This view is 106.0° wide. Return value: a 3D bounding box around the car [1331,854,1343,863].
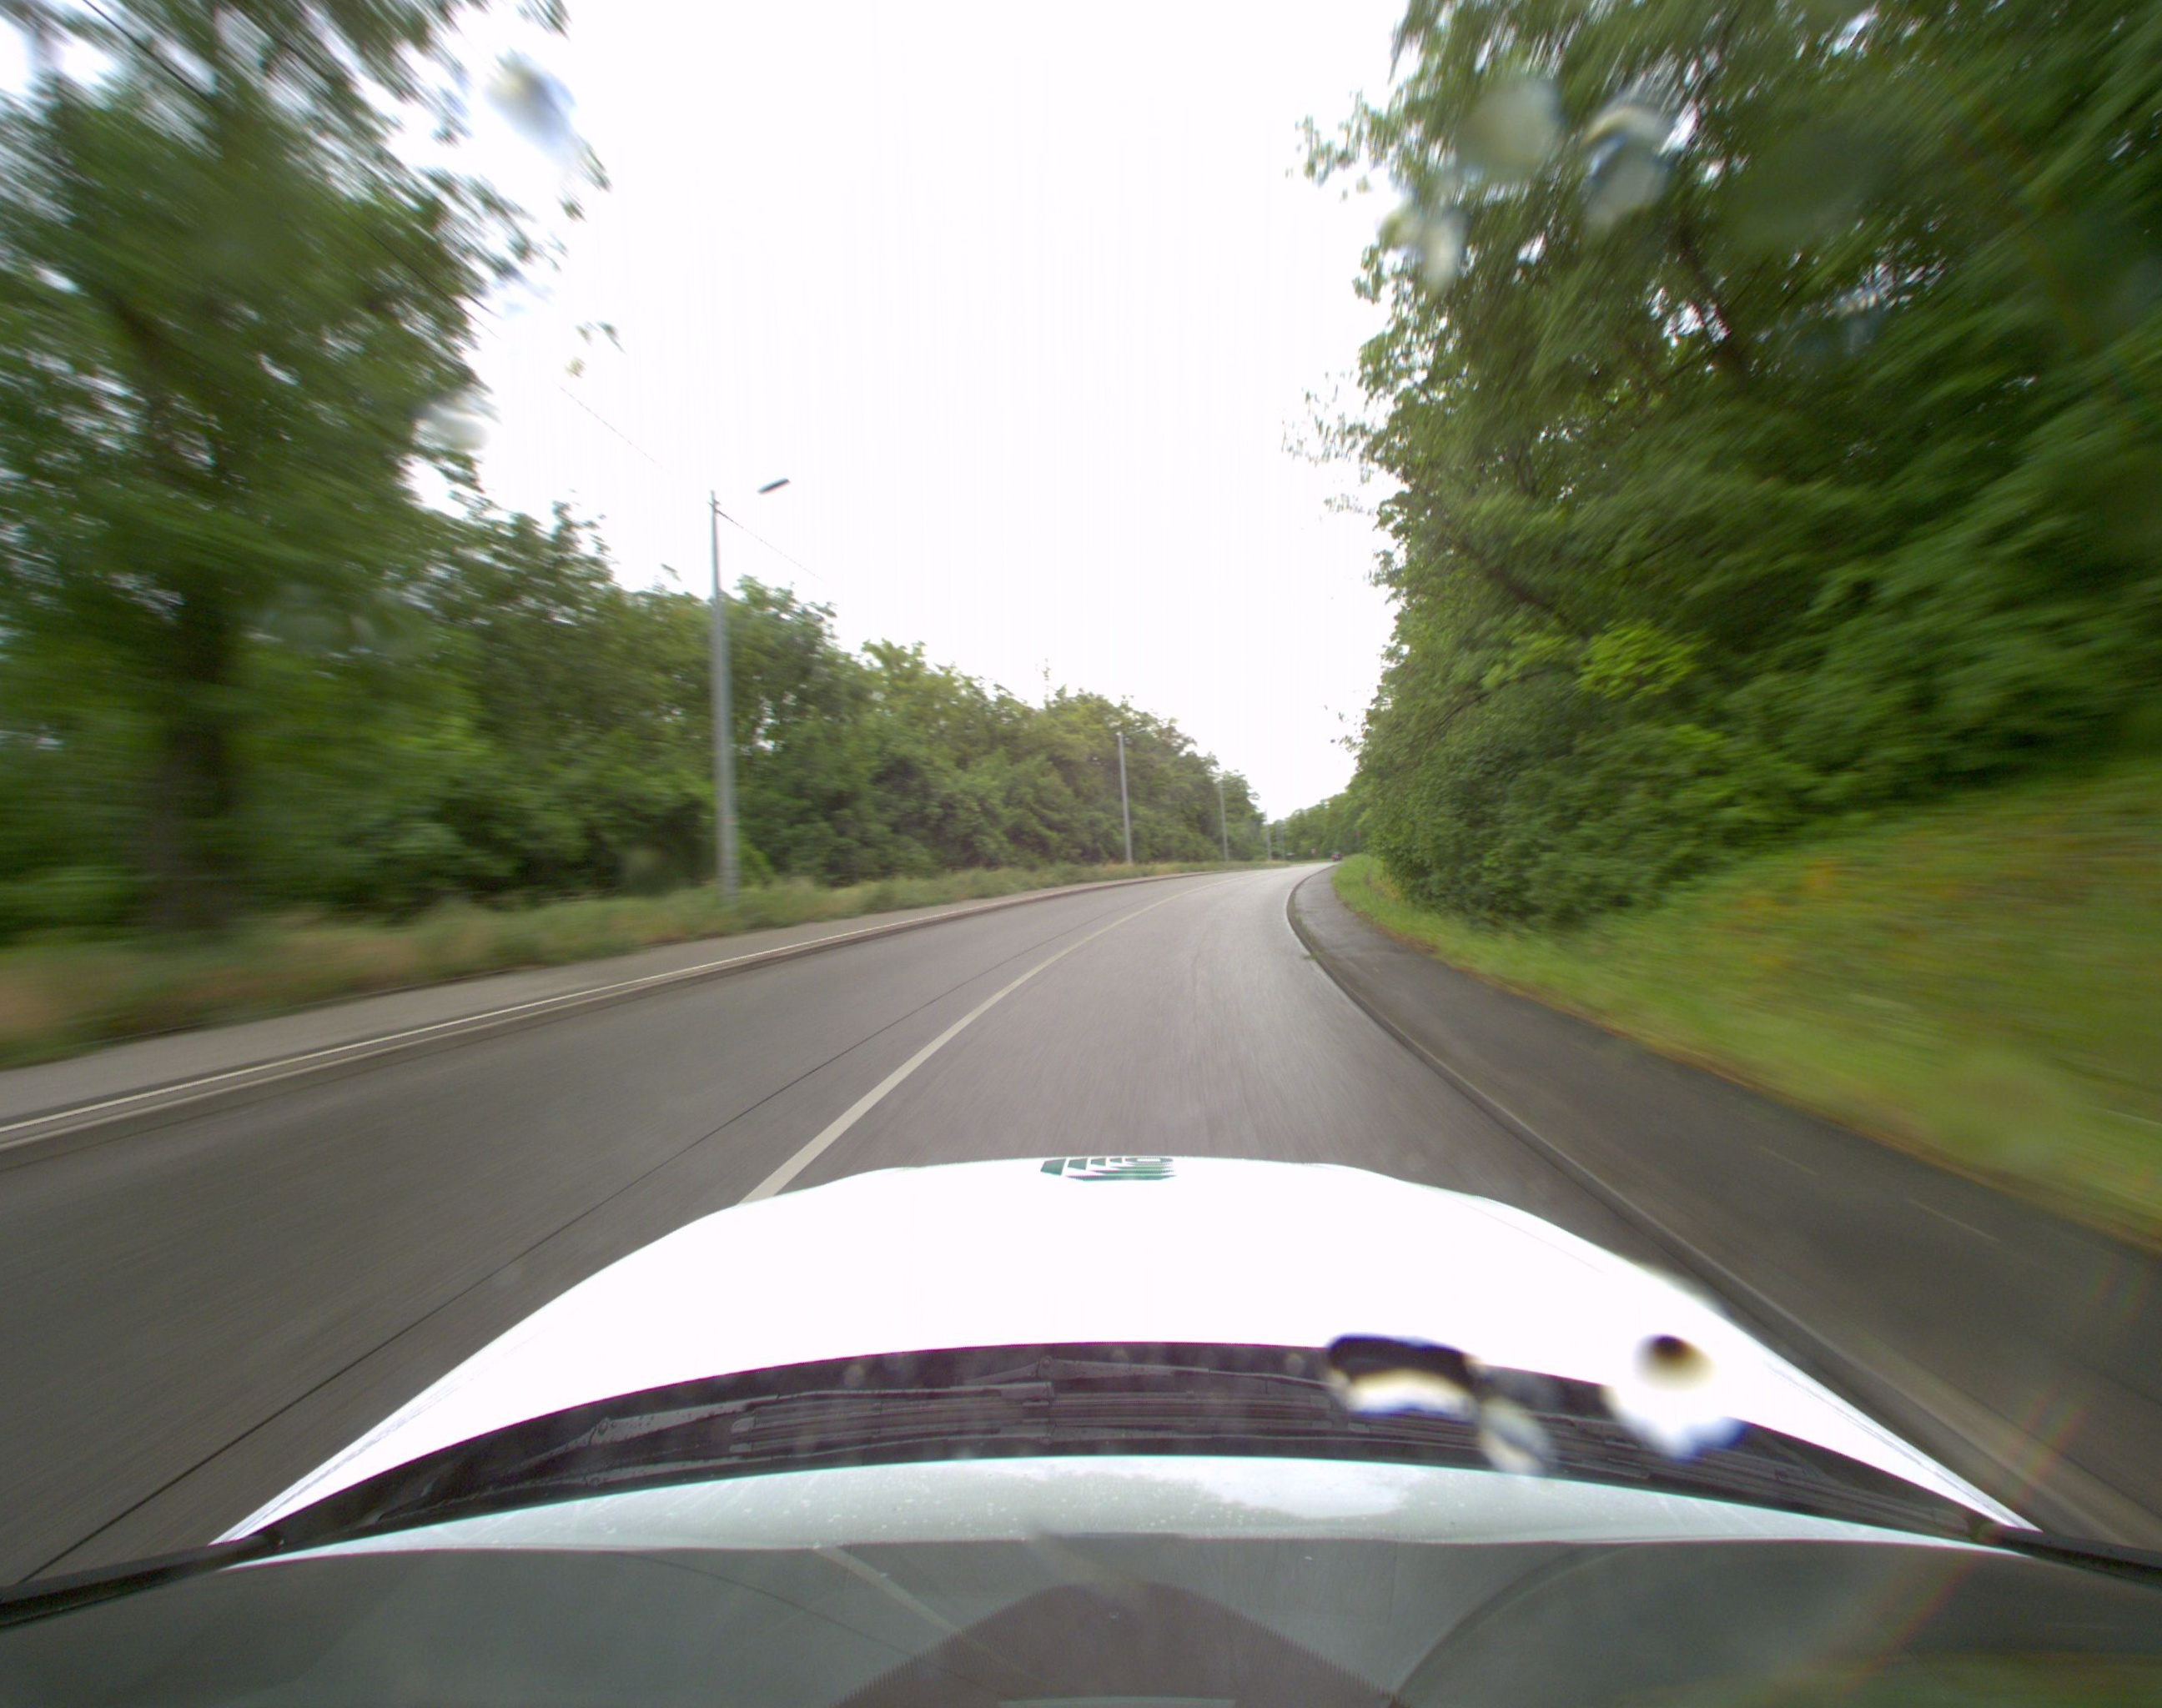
[{"bbox_3d":[47.852,0.783,152.245,1.855,1.596,4.013,0,-1,13],"label":"car"}]
